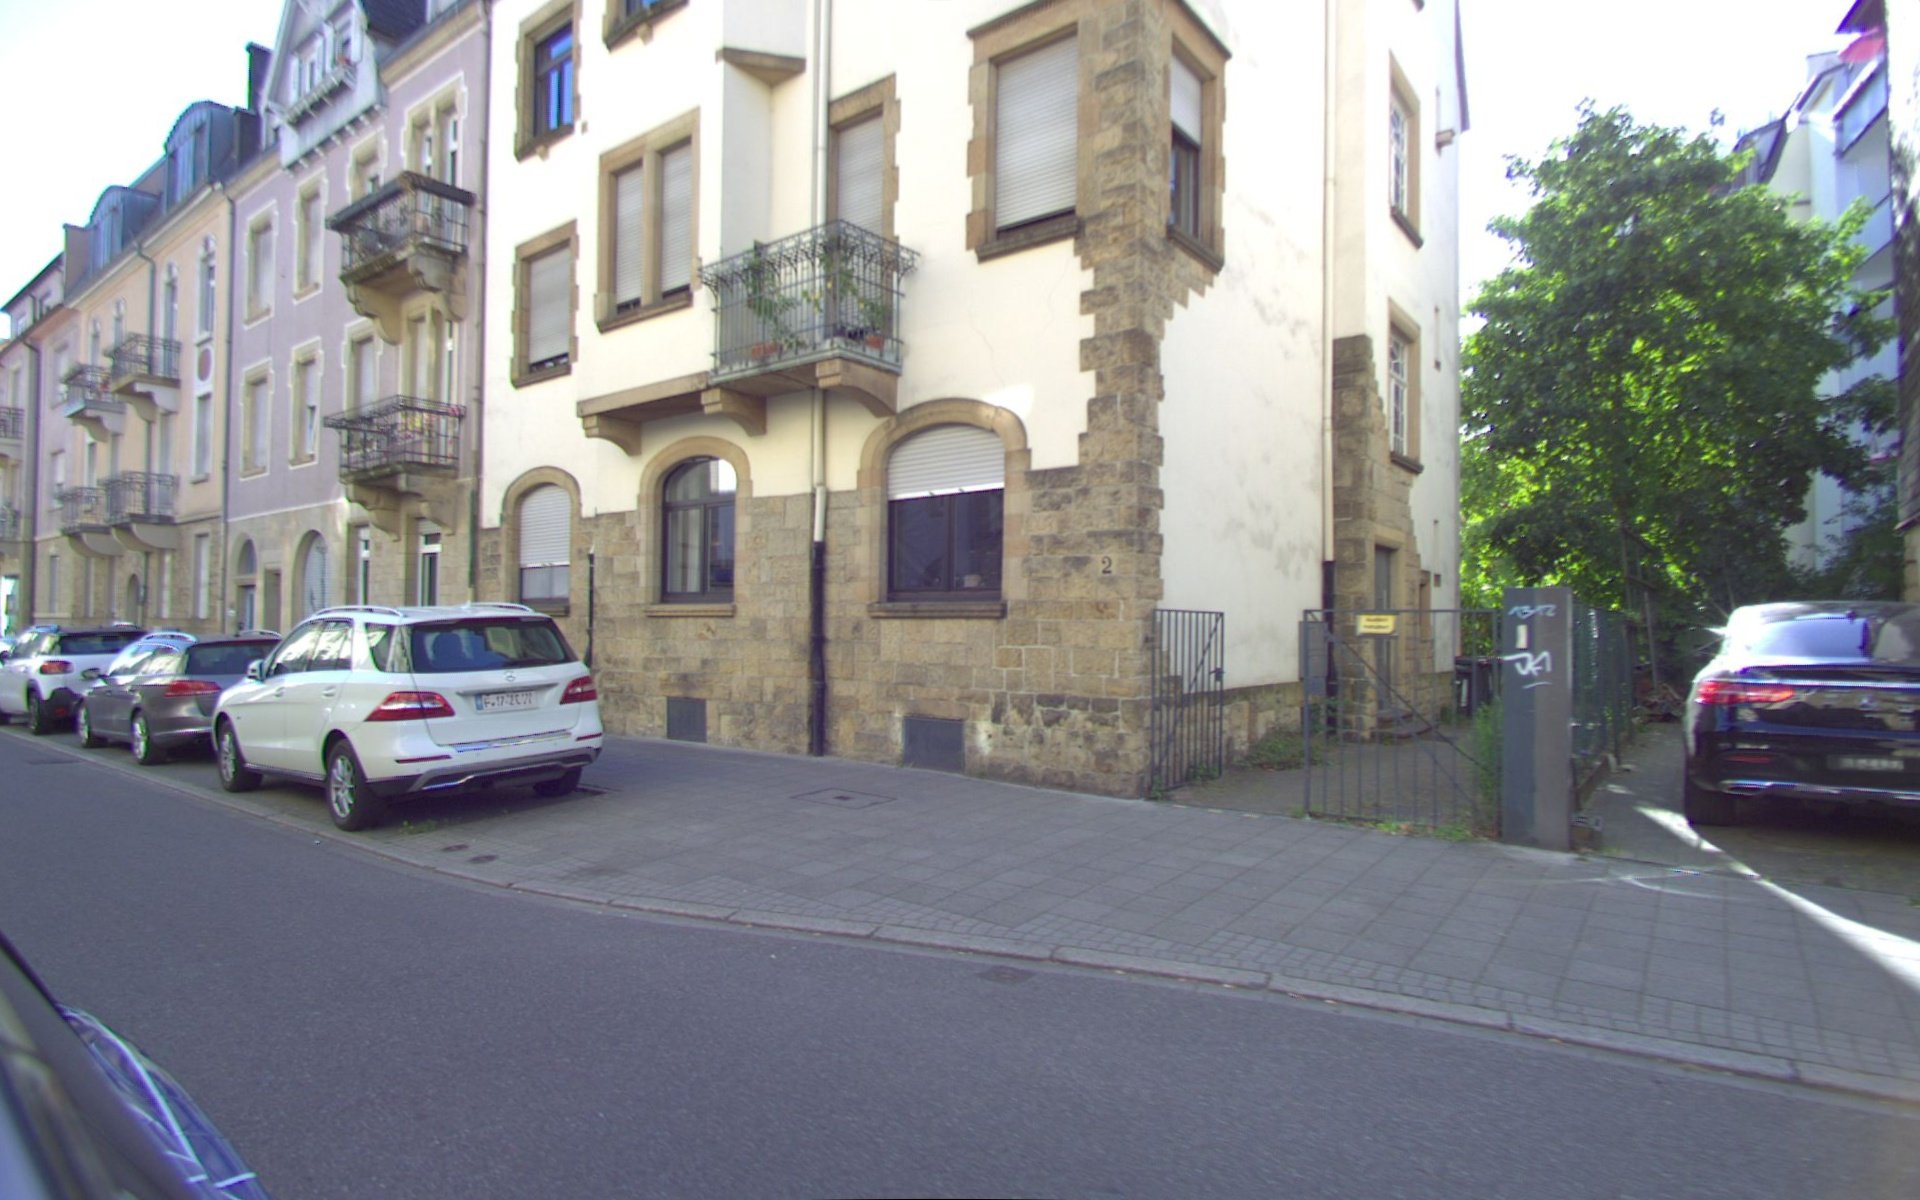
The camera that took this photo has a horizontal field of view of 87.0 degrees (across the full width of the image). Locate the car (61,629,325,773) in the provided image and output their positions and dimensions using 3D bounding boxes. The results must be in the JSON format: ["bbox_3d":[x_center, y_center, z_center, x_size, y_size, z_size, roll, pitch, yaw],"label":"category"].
[{"bbox_3d":[-9.754,1.146,12.757,4.272,1.498,1.559,-2,-1,37],"label":"car"}]

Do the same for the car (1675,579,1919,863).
[{"bbox_3d":[6.917,0.814,7.932,1.907,1.741,3.930,-2,-3,38],"label":"car"}]

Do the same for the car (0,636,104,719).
[{"bbox_3d":[-18.317,1.448,19.611,3.656,1.404,1.659,-2,1,34],"label":"car"}]

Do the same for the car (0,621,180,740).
[{"bbox_3d":[-14.200,1.196,16.156,4.013,1.595,1.699,-2,1,36],"label":"car"}]

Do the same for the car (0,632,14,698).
[{"bbox_3d":[-24.630,1.582,24.627,3.716,1.550,1.699,-2,-2,37],"label":"car"}]

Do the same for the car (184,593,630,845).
[{"bbox_3d":[-5.234,0.883,9.286,4.719,1.735,1.874,-2,0,38],"label":"car"}]
